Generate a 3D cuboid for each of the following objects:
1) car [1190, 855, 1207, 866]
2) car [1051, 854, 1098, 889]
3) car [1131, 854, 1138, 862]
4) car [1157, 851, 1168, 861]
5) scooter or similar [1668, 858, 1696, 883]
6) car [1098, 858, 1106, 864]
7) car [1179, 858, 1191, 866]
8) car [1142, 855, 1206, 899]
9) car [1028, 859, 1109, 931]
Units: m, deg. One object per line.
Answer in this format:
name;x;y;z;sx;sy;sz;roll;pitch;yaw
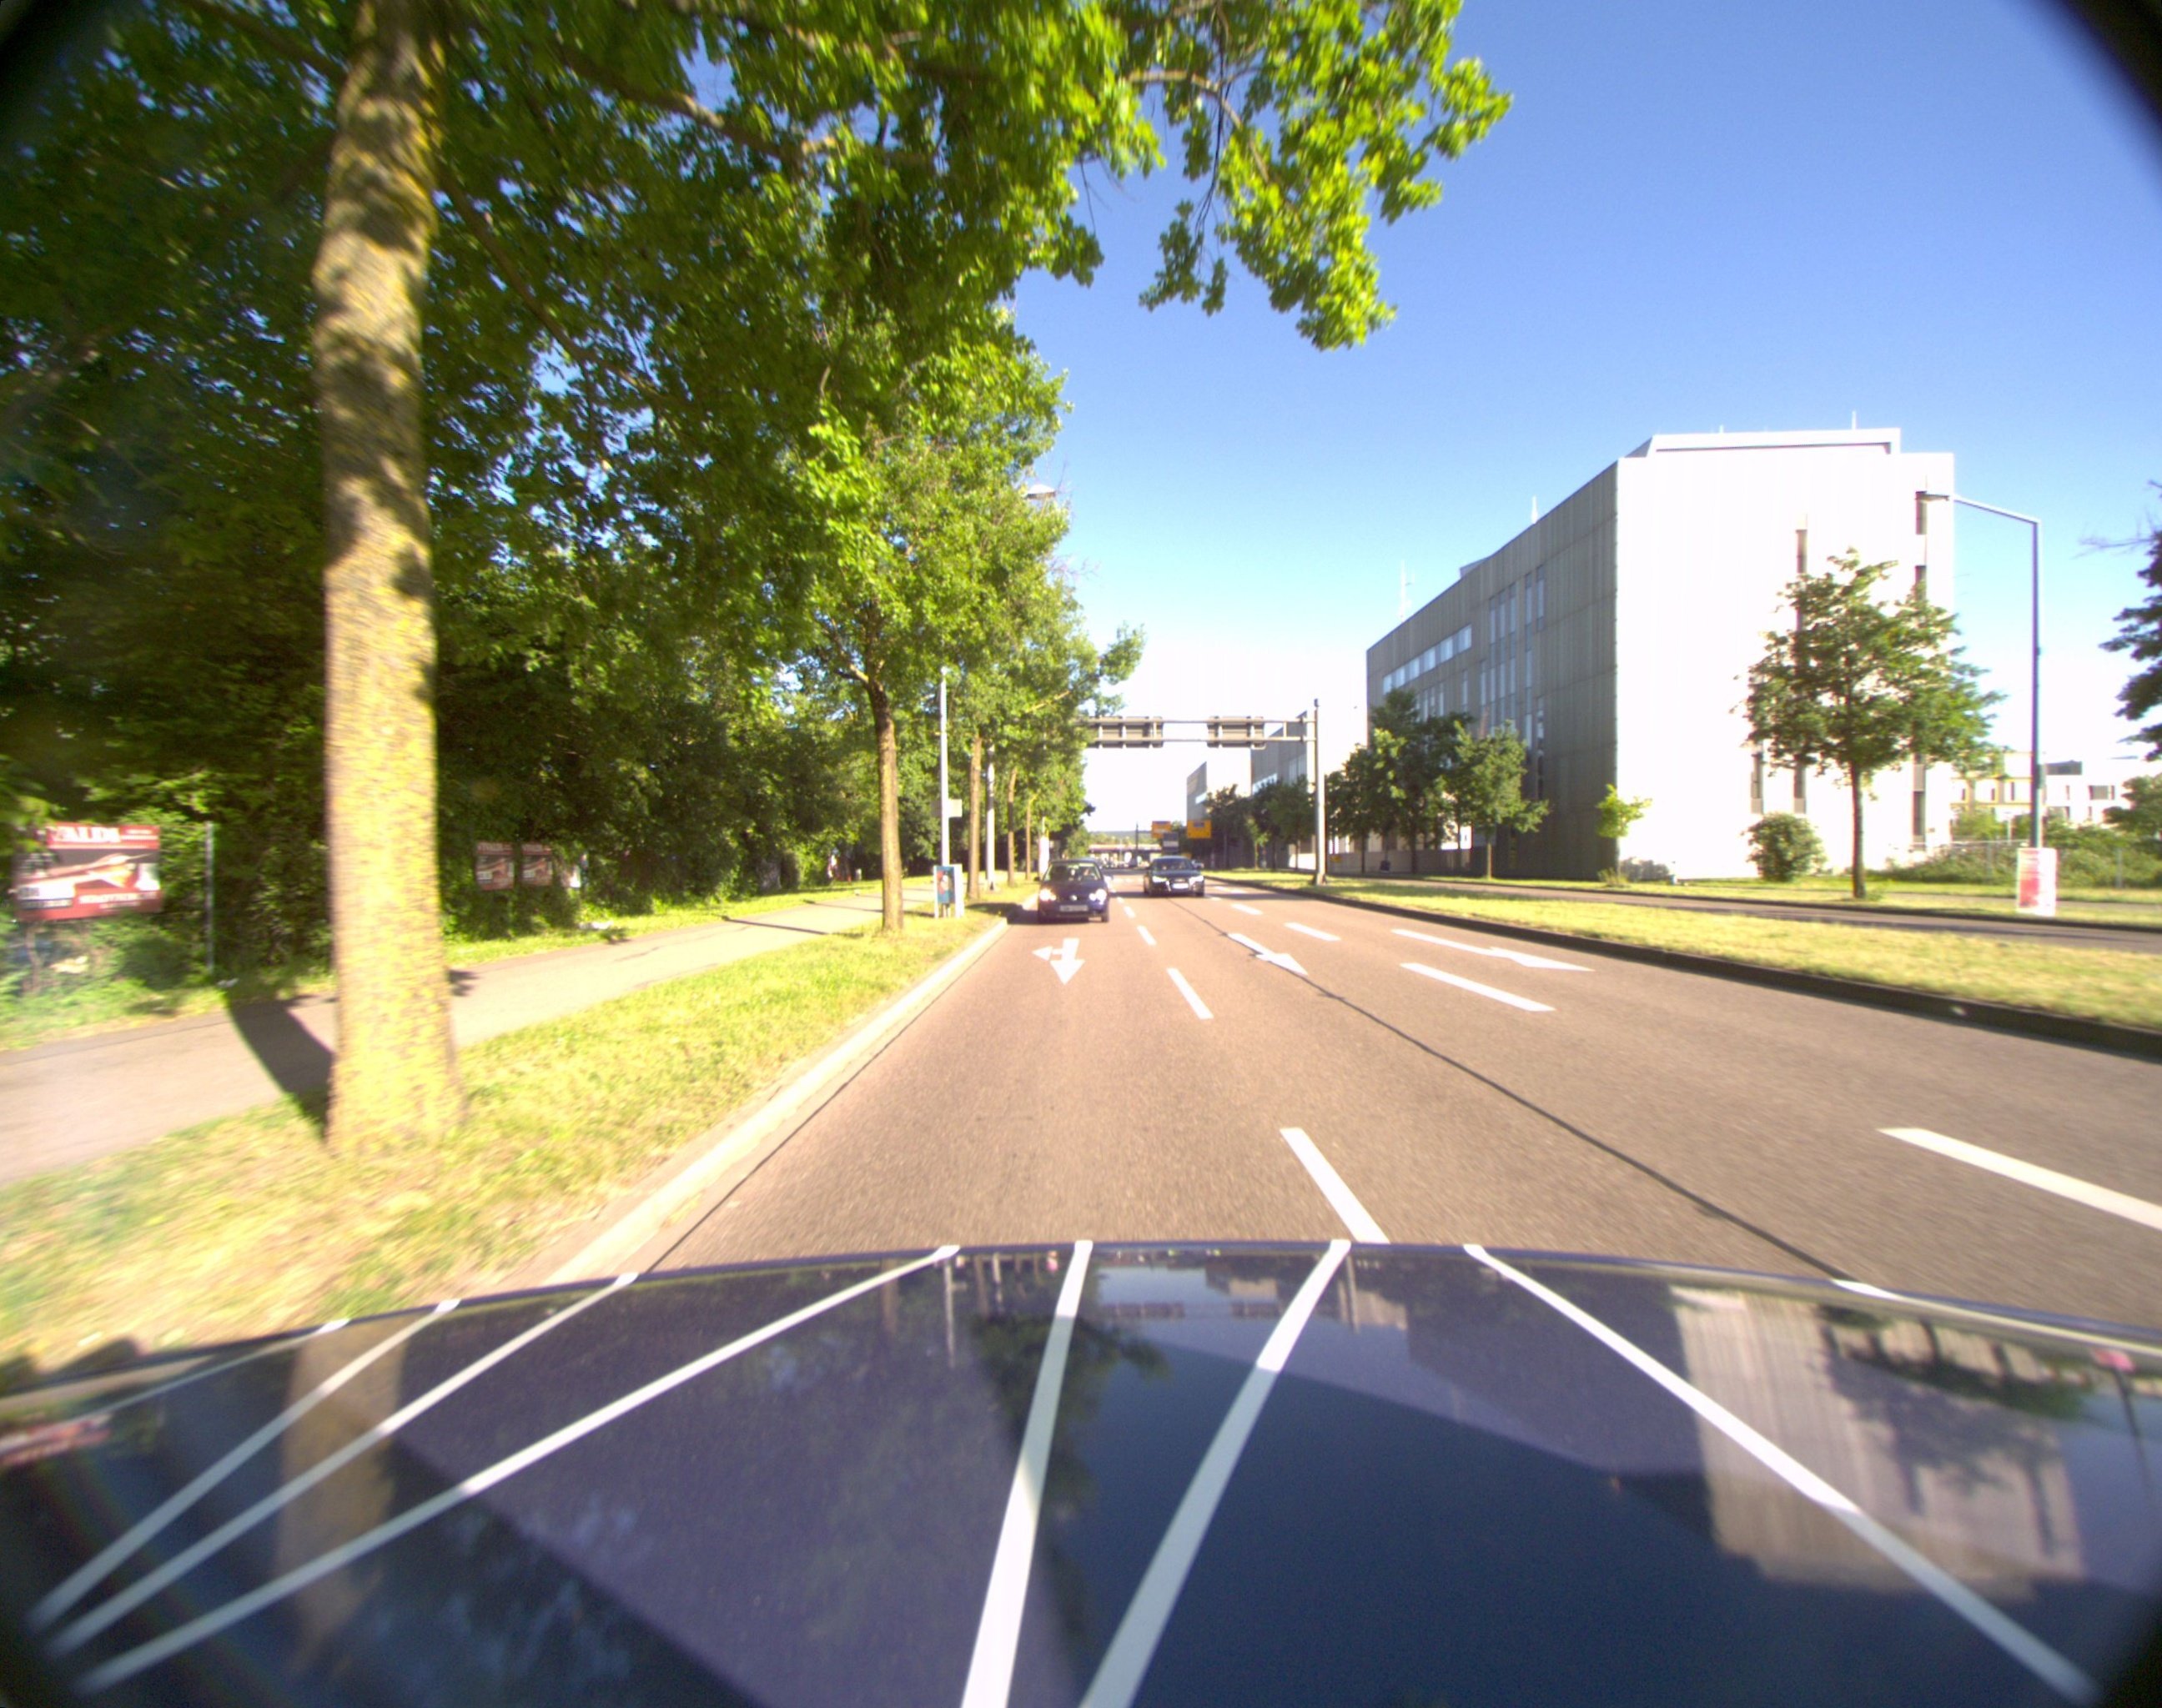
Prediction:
car;18.028;1.002;116.750;1.998;1.569;4.000;0;0;1
car;-0.270;0.819;36.900;1.756;1.446;4.001;-3;1;6
car;16.343;1.279;231.409;1.998;2.468;4.571;0;0;1
car;17.682;0.353;165.855;1.998;2.172;4.000;0;0;1
scooter or similar;26.934;0.739;34.080;0.453;1.104;1.408;0;0;14
car;5.498;1.823;197.792;1.998;1.678;4.001;0;0;5
car;21.150;1.591;154.131;1.998;1.569;4.000;0;0;1
car;3.324;0.773;28.020;1.797;1.435;5.017;-1;0;1
car;-0.190;0.908;18.805;1.636;1.459;4.546;-2;0;3
